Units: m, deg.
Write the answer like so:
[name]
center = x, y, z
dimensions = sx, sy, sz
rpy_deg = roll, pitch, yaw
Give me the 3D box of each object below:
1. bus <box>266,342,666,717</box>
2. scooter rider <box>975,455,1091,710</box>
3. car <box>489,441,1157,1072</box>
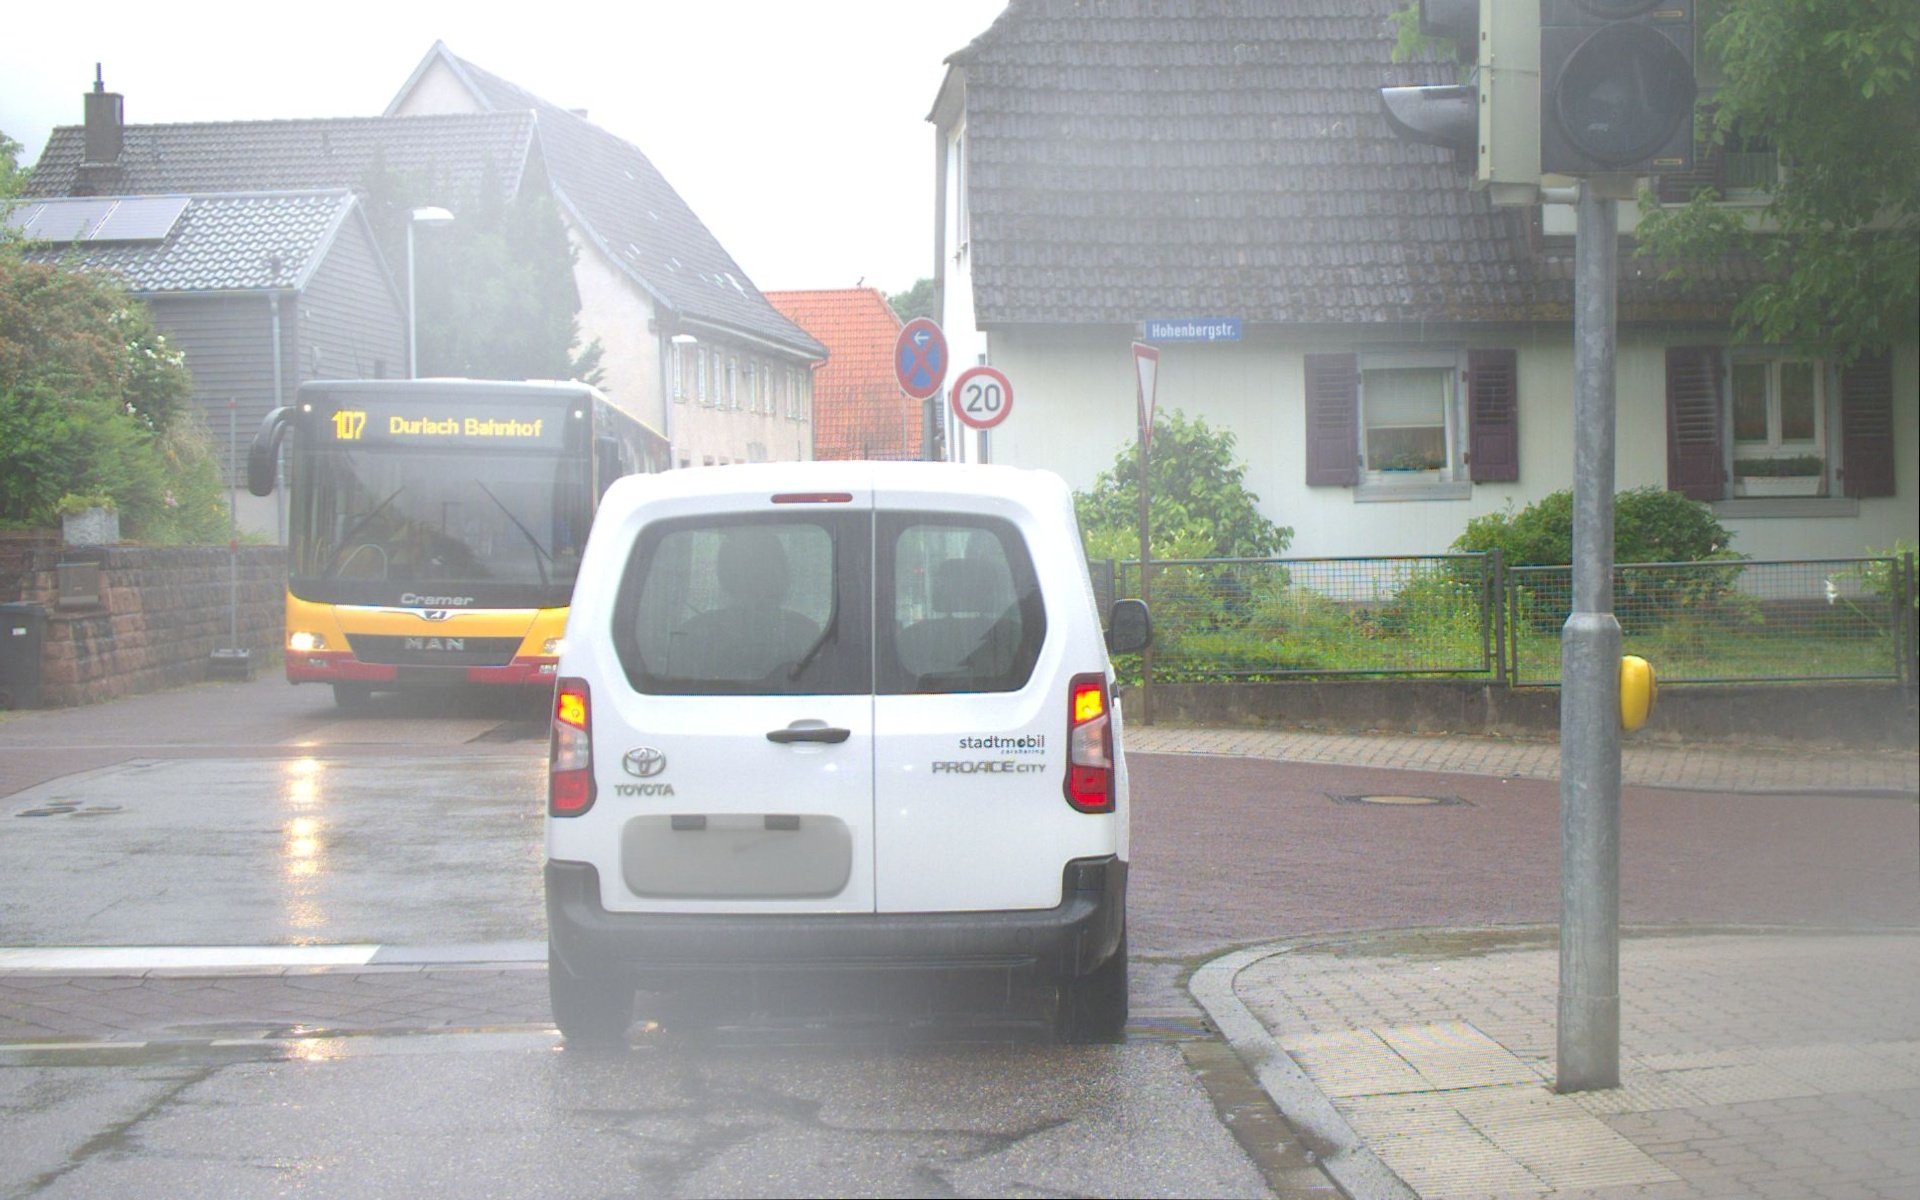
[bus]
center = -4.468, -0.843, 33.590
dimensions = 2.649, 2.989, 12.195
rpy_deg = 0, 3, -2
[scooter rider]
center = 0.498, -0.130, 23.601
dimensions = 0.731, 1.727, 0.518
rpy_deg = -1, 2, -6
[car]
center = -0.394, 0.408, 11.721
dimensions = 1.894, 1.787, 3.814
rpy_deg = 0, 1, 0
